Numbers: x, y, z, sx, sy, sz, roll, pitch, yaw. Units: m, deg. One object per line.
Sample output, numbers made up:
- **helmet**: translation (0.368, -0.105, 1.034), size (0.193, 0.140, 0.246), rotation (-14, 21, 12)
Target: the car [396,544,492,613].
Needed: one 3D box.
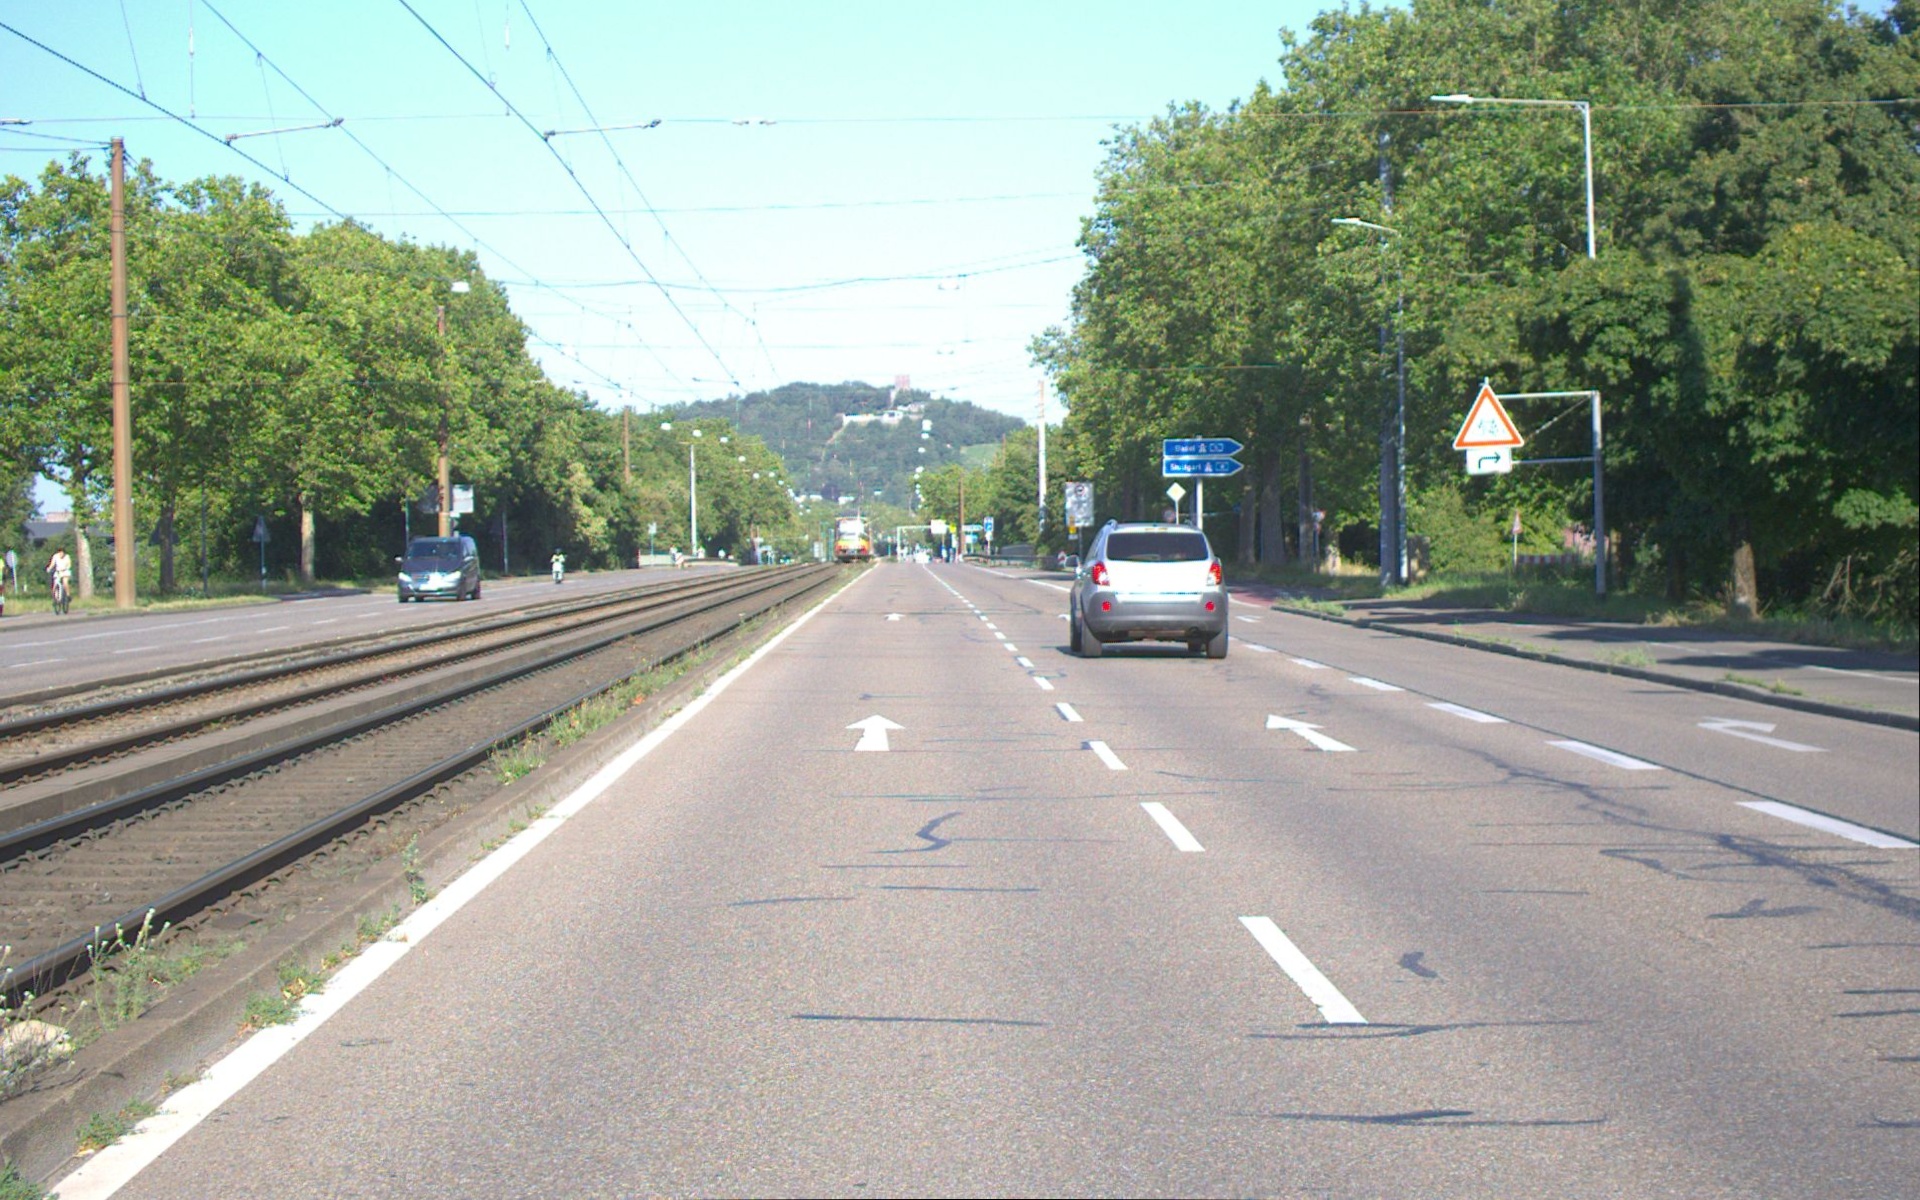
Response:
- **car**: translation (-15.018, -0.636, 100.267), size (1.993, 1.916, 4.860), rotation (-1, 0, 1)

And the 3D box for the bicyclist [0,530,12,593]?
- **bicyclist**: translation (-23.155, -0.918, 82.418), size (0.590, 1.523, 0.906), rotation (-1, 0, -1)

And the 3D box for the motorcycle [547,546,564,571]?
- **motorcycle**: translation (-17.578, -1.794, 149.473), size (0.535, 1.087, 1.902), rotation (1, 0, -1)

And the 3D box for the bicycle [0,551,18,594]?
- **bicycle**: translation (-23.161, -0.658, 82.390), size (0.590, 1.018, 2.186), rotation (-1, 1, -1)

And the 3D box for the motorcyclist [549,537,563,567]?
- **motorcyclist**: translation (-17.571, -2.089, 149.538), size (0.535, 1.266, 0.805), rotation (1, 0, -1)

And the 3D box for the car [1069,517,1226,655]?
- **car**: translation (2.368, -0.185, 44.288), size (1.888, 1.688, 4.256), rotation (0, 0, 1)

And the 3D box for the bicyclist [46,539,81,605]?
- **bicyclist**: translation (-21.992, -0.682, 84.342), size (0.590, 1.605, 0.967), rotation (-1, 0, -1)

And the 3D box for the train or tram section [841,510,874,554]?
- **train or tram section**: translation (-7.794, -5.118, 261.449), size (2.310, 3.206, 9.476), rotation (1, 1, -1)

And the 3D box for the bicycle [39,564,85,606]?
- **bicycle**: translation (-21.997, -0.377, 84.237), size (0.590, 1.018, 2.186), rotation (-1, 1, -1)
